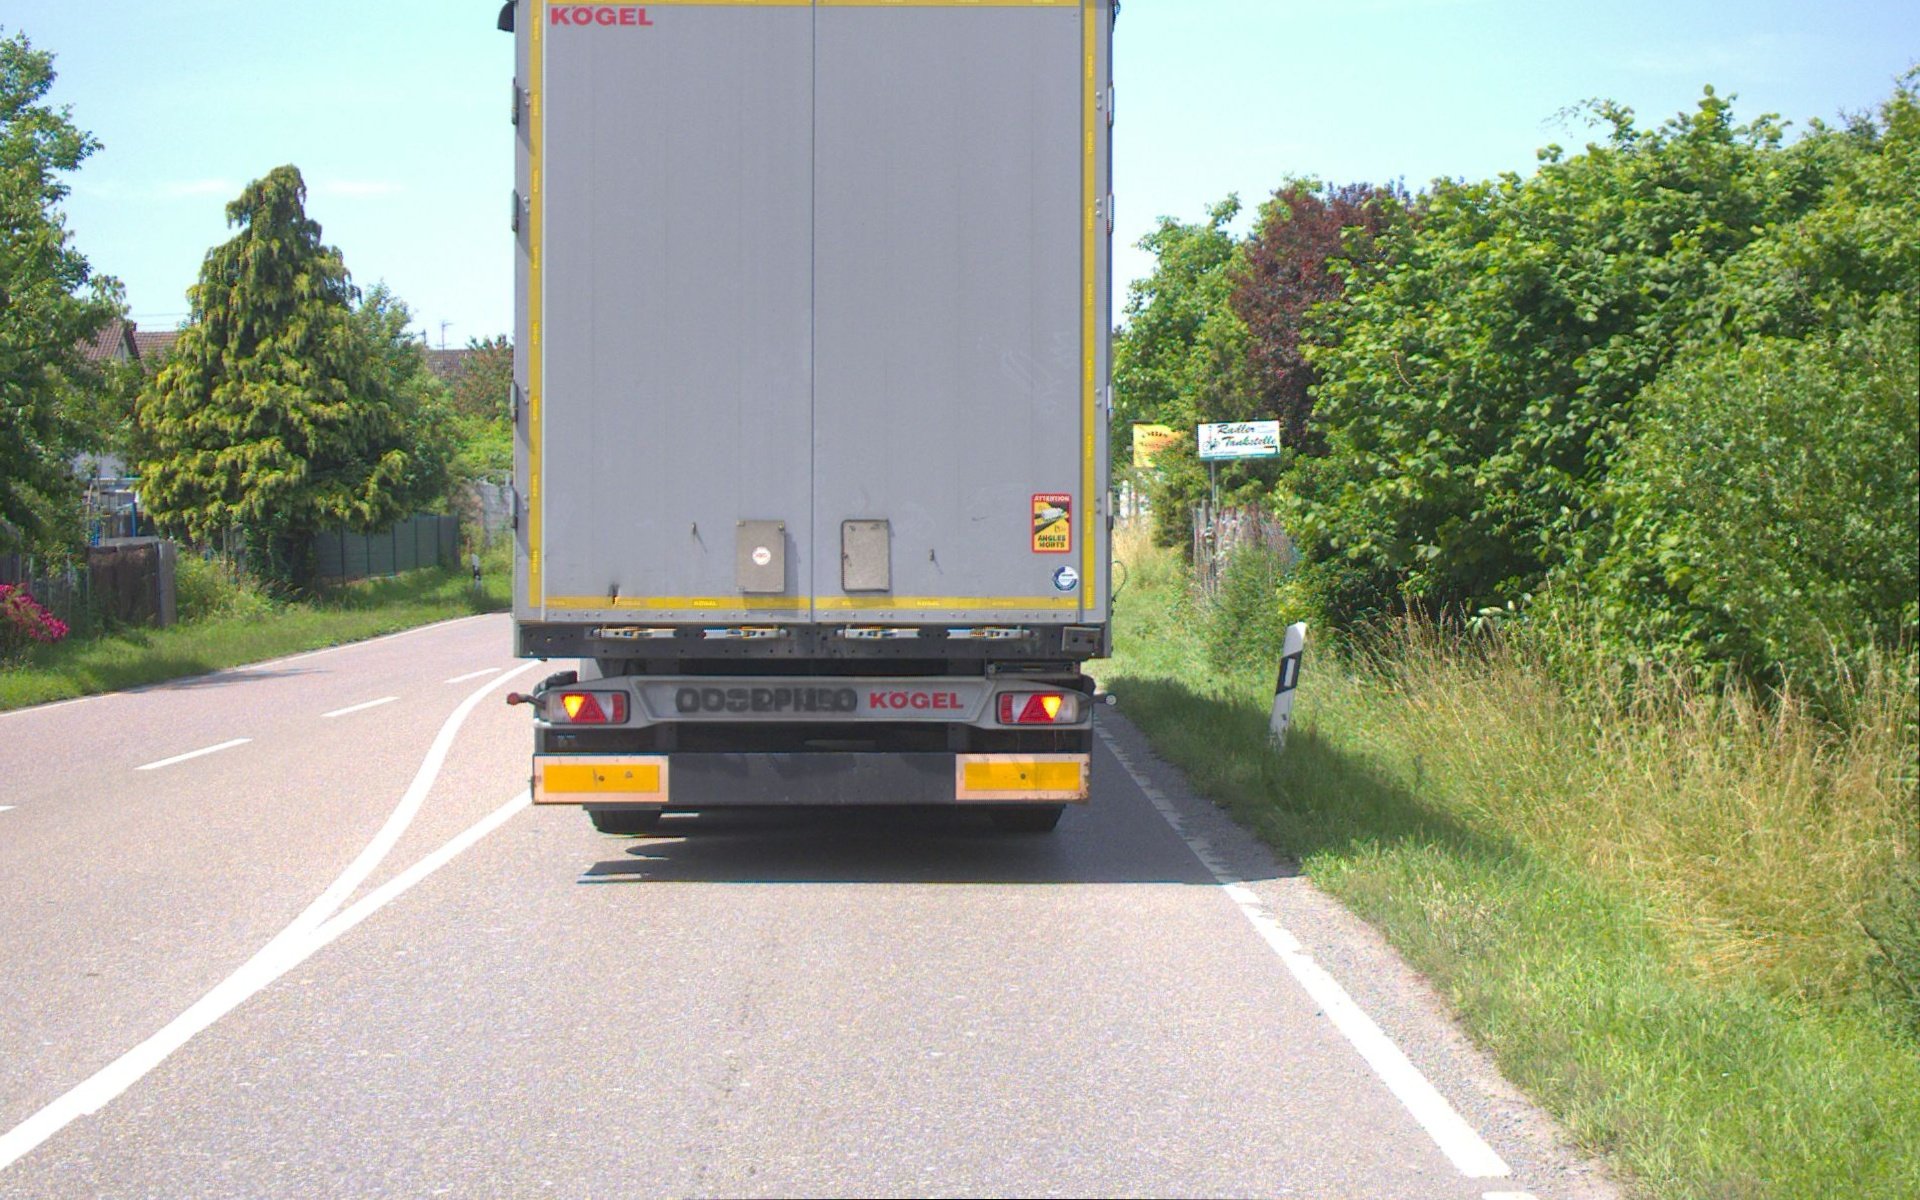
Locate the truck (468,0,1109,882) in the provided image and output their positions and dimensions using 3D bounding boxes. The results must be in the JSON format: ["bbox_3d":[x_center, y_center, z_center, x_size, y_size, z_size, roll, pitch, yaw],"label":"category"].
[{"bbox_3d":[-0.862,-0.862,18.762,2.647,3.903,8.826,0,1,-2],"label":"truck"}]
